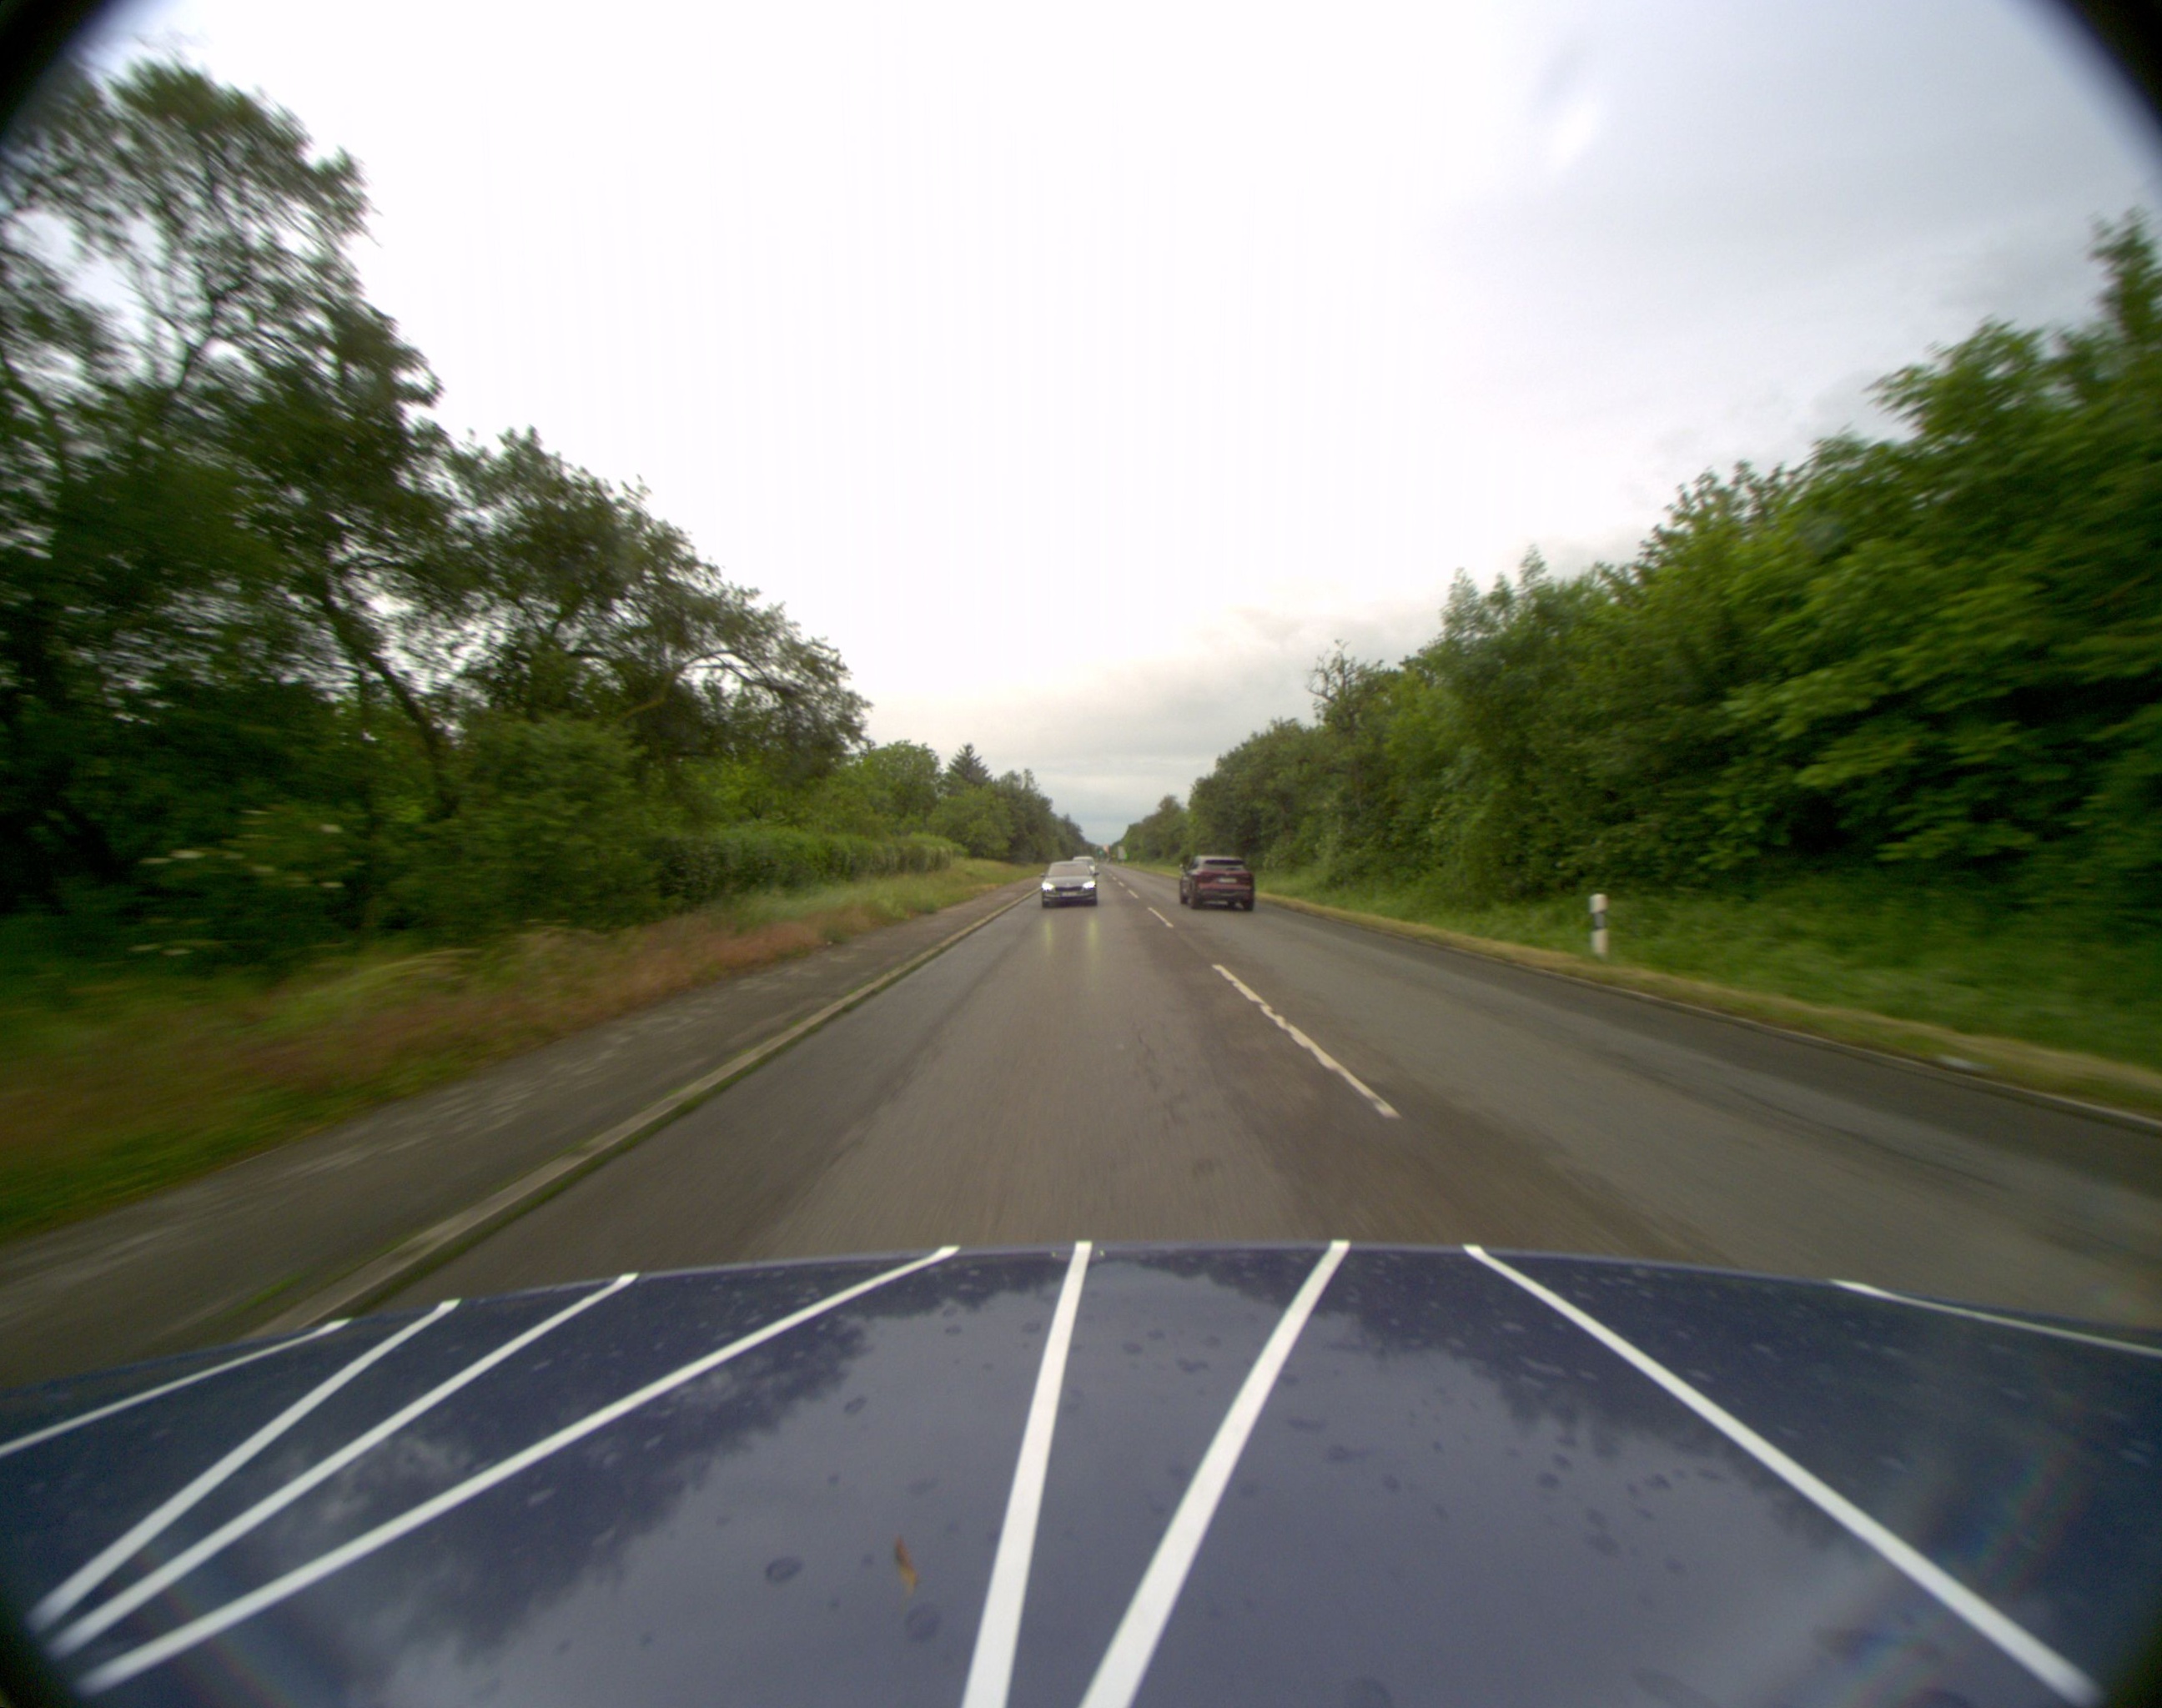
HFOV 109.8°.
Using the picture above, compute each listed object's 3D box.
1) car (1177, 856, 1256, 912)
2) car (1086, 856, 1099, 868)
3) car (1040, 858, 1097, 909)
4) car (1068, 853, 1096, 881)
[{"bbox_3d":[4.137,0.867,23.882,1.910,1.547,4.516,0,0,3],"label":"car"},{"bbox_3d":[1.773,1.182,111.939,1.856,1.686,4.000,0,0,2],"label":"car"},{"bbox_3d":[-0.352,0.938,25.669,1.675,1.477,4.215,-3,-1,1],"label":"car"},{"bbox_3d":[0.069,0.845,49.792,1.704,1.723,4.000,-1,0,0],"label":"car"}]
